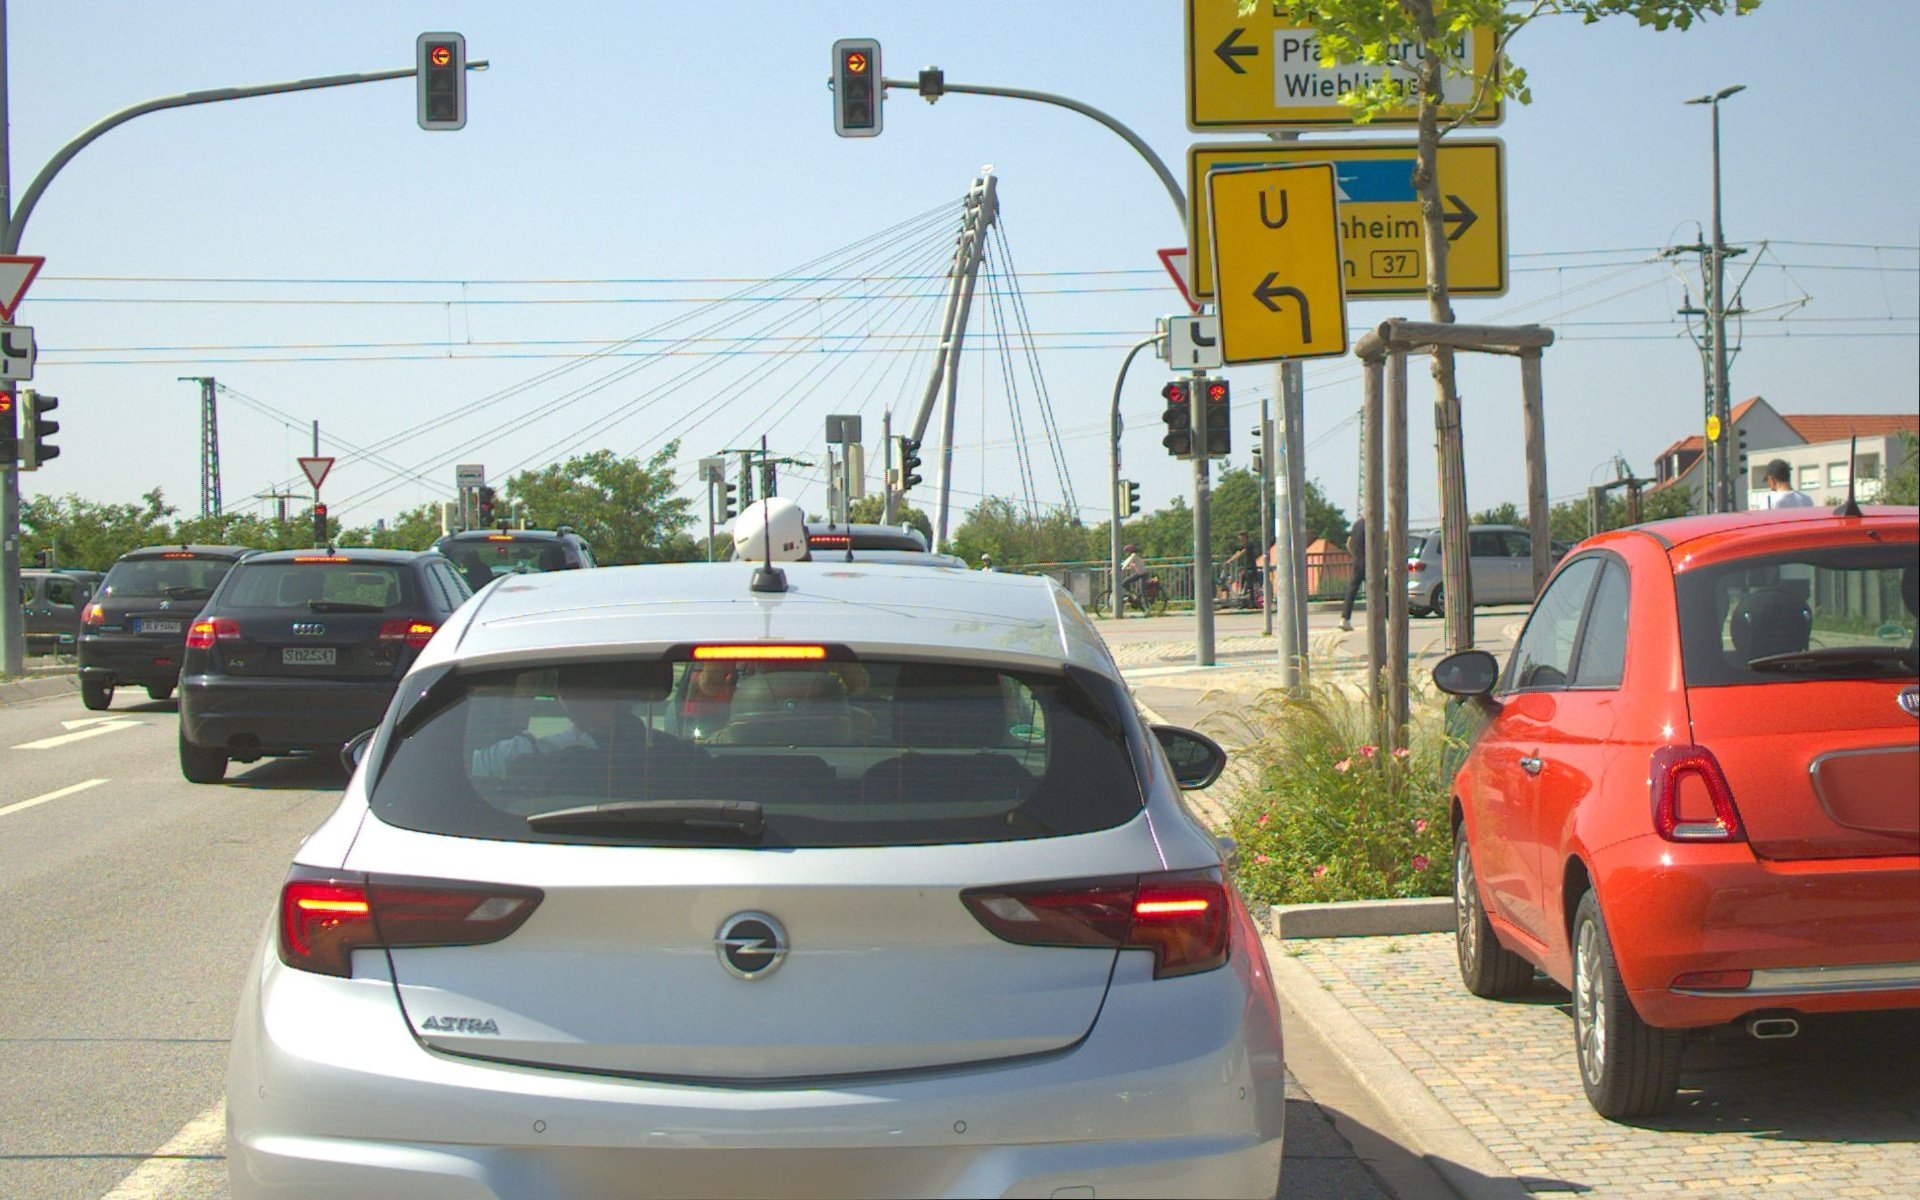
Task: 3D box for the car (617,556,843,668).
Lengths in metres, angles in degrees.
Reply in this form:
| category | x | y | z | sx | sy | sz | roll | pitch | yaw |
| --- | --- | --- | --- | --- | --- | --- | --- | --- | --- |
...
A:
| category | x | y | z | sx | sy | sz | roll | pitch | yaw |
| --- | --- | --- | --- | --- | --- | --- | --- | --- | --- |
| car | -4.185 | 0.205 | 63.035 | 3.987 | 2.007 | 2.000 | 0 | 0 | 1 |

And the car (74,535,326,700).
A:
| category | x | y | z | sx | sy | sz | roll | pitch | yaw |
| --- | --- | --- | --- | --- | --- | --- | --- | --- | --- |
| car | -6.774 | 0.146 | 30.930 | 1.587 | 1.390 | 3.340 | 0 | 0 | -1 |

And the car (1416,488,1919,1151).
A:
| category | x | y | z | sx | sy | sz | roll | pitch | yaw |
| --- | --- | --- | --- | --- | --- | --- | --- | --- | --- |
| car | 2.396 | 0.461 | 10.026 | 1.669 | 1.534 | 3.916 | -2 | 1 | 2 |

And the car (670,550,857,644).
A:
| category | x | y | z | sx | sy | sz | roll | pitch | yaw |
| --- | --- | --- | --- | --- | --- | --- | --- | --- | --- |
| car | -4.347 | -0.070 | 76.669 | 3.987 | 2.007 | 2.000 | -1 | 0 | 1 |

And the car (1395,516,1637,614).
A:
| category | x | y | z | sx | sy | sz | roll | pitch | yaw |
| --- | --- | --- | --- | --- | --- | --- | --- | --- | --- |
| car | 9.799 | -0.611 | 60.735 | 3.814 | 1.623 | 1.857 | 1 | 0 | -9 |

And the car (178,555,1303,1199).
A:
| category | x | y | z | sx | sy | sz | roll | pitch | yaw |
| --- | --- | --- | --- | --- | --- | --- | --- | --- | --- |
| car | -0.376 | 0.668 | 7.320 | 1.690 | 1.514 | 4.271 | 0 | 1 | -1 |

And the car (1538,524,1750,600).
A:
| category | x | y | z | sx | sy | sz | roll | pitch | yaw |
| --- | --- | --- | --- | --- | --- | --- | --- | --- | --- |
| car | 15.439 | -0.852 | 77.616 | 4.244 | 1.668 | 2.001 | 0 | 0 | -18 |

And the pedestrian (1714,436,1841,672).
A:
| category | x | y | z | sx | sy | sz | roll | pitch | yaw |
| --- | --- | --- | --- | --- | --- | --- | --- | --- | --- |
| pedestrian | 6.462 | -0.357 | 27.207 | 0.758 | 1.823 | 0.885 | 1 | 0 | -1 |

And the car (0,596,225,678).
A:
| category | x | y | z | sx | sy | sz | roll | pitch | yaw |
| --- | --- | --- | --- | --- | --- | --- | --- | --- | --- |
| car | -16.513 | 0.681 | 65.527 | 4.475 | 1.450 | 1.998 | 1 | 0 | 17 |

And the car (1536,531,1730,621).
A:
| category | x | y | z | sx | sy | sz | roll | pitch | yaw |
| --- | --- | --- | --- | --- | --- | --- | --- | --- | --- |
| car | 15.902 | -0.560 | 81.263 | 3.986 | 2.007 | 2.001 | 1 | 0 | -19 |

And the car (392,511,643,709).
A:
| category | x | y | z | sx | sy | sz | roll | pitch | yaw |
| --- | --- | --- | --- | --- | --- | --- | --- | --- | --- |
| car | -4.004 | 0.082 | 31.661 | 1.803 | 1.616 | 3.917 | -3 | 0 | -1 |

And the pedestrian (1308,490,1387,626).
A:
| category | x | y | z | sx | sy | sz | roll | pitch | yaw |
| --- | --- | --- | --- | --- | --- | --- | --- | --- | --- |
| pedestrian | 5.331 | -0.575 | 47.350 | 0.740 | 1.857 | 0.754 | 1 | 0 | -34 |

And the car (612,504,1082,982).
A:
| category | x | y | z | sx | sy | sz | roll | pitch | yaw |
| --- | --- | --- | --- | --- | --- | --- | --- | --- | --- |
| car | -0.445 | 0.506 | 14.115 | 1.634 | 1.668 | 3.745 | 1 | 0 | -1 |

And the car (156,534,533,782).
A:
| category | x | y | z | sx | sy | sz | roll | pitch | yaw |
| --- | --- | --- | --- | --- | --- | --- | --- | --- | --- |
| car | -3.838 | 0.336 | 22.056 | 1.705 | 1.407 | 4.000 | 1 | 0 | 0 |
